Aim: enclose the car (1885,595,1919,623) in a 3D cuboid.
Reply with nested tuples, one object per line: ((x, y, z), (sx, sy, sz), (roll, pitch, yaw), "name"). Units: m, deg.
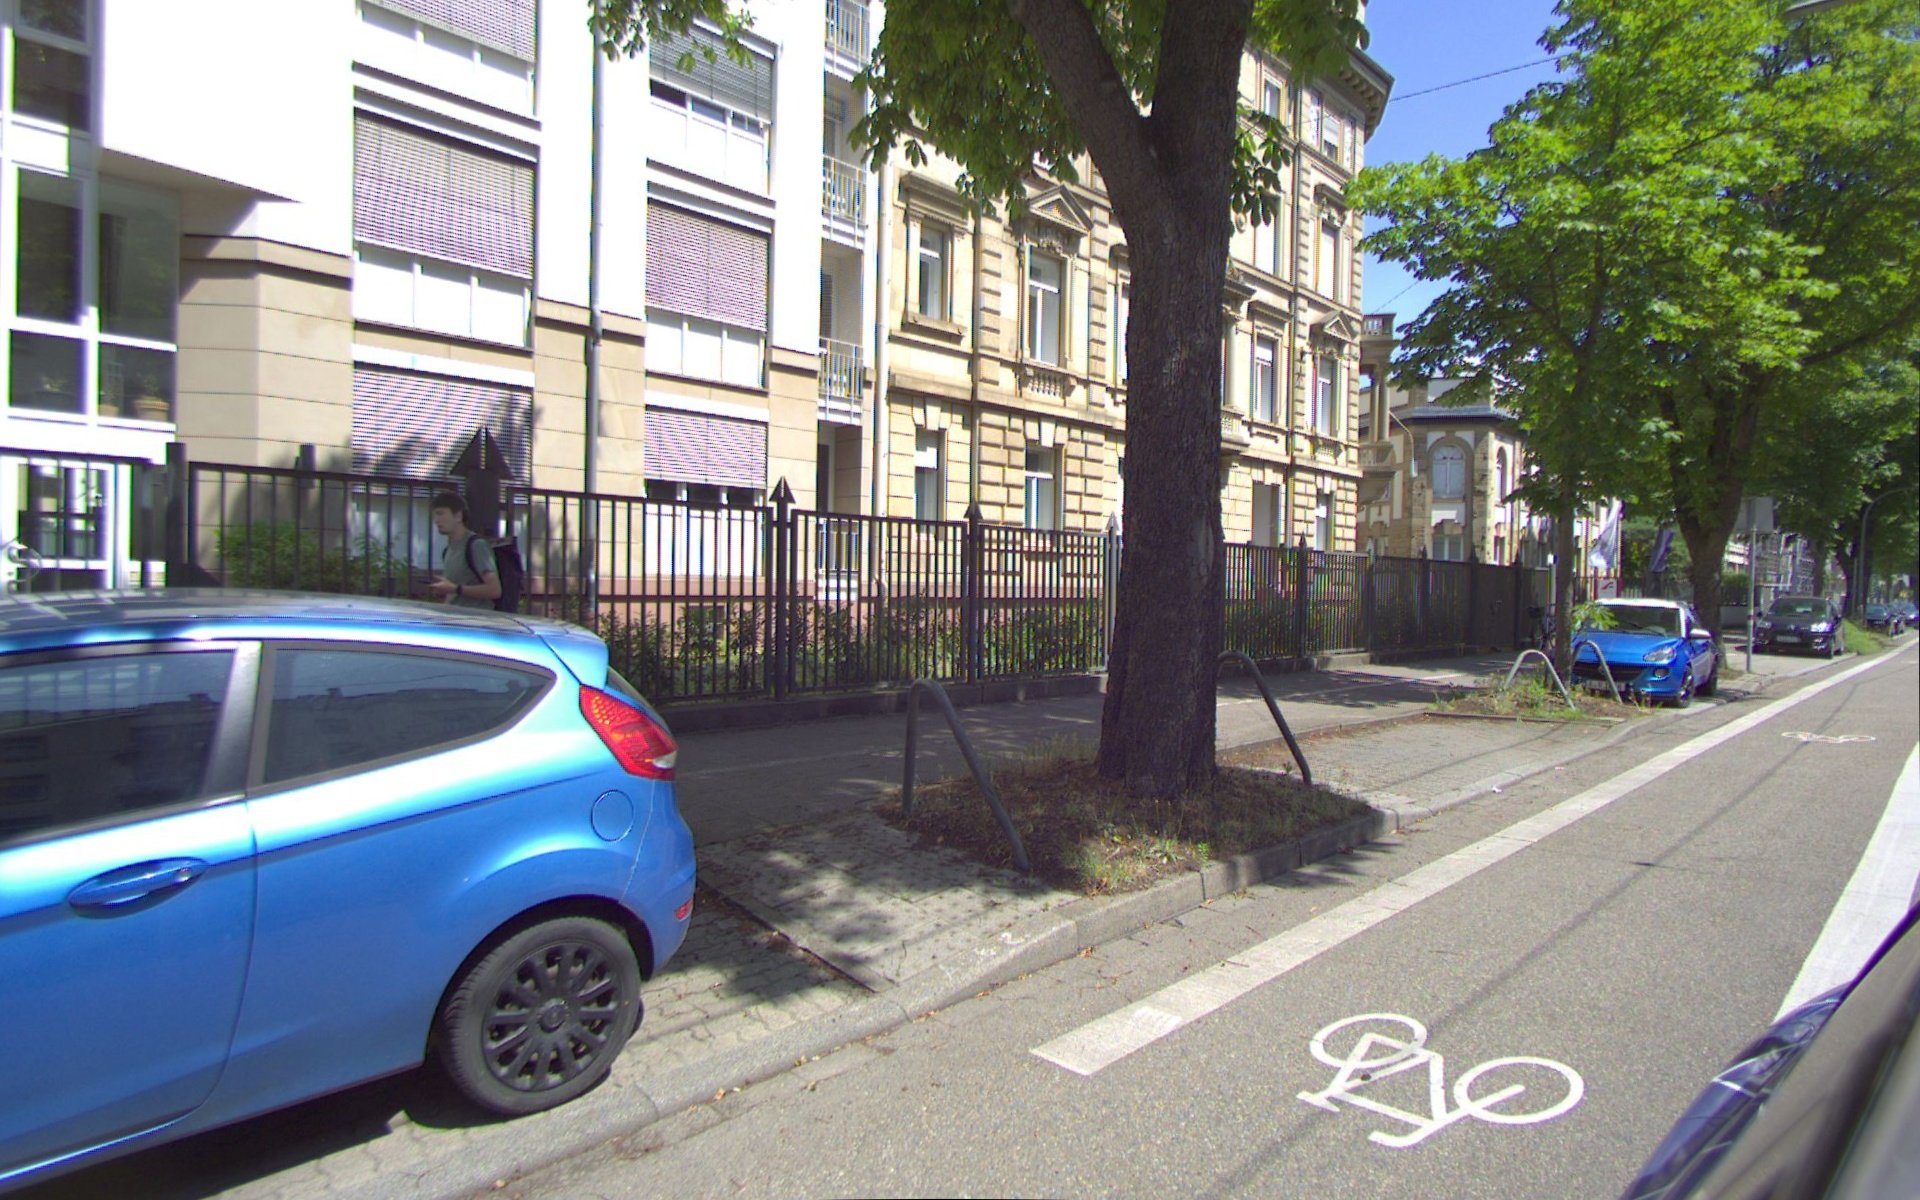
((52.756, 0.487, 56.292), (3.934, 1.420, 1.624), (0, 4, -44), "car")

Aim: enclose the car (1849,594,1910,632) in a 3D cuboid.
((39.263, 0.529, 43.196), (3.759, 1.420, 1.624), (0, 4, -44), "car")

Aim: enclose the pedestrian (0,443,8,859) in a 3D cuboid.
((-4.738, 0.209, 4.273), (1.034, 1.783, 0.788), (0, 1, -44), "pedestrian")

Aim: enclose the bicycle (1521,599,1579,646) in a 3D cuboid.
((14.129, 0.521, 24.208), (1.946, 1.084, 0.608), (0, 1, -42), "bicycle")

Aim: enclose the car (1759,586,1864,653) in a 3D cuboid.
((23.694, 0.503, 28.103), (4.016, 1.635, 1.732), (0, 3, -44), "car")

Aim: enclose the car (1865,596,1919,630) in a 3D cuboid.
((44.047, 0.574, 47.779), (3.934, 1.420, 1.624), (0, 4, -44), "car")

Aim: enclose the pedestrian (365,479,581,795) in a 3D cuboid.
((-3.084, 0.204, 6.433), (1.066, 1.820, 0.685), (0, 1, -44), "pedestrian")

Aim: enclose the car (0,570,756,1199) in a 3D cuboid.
((-2.564, 0.659, 2.663), (3.660, 1.461, 1.678), (0, 1, -45), "car")

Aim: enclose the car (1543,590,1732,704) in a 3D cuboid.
((10.203, 0.608, 15.154), (3.417, 1.471, 1.692), (0, 1, -45), "car")
